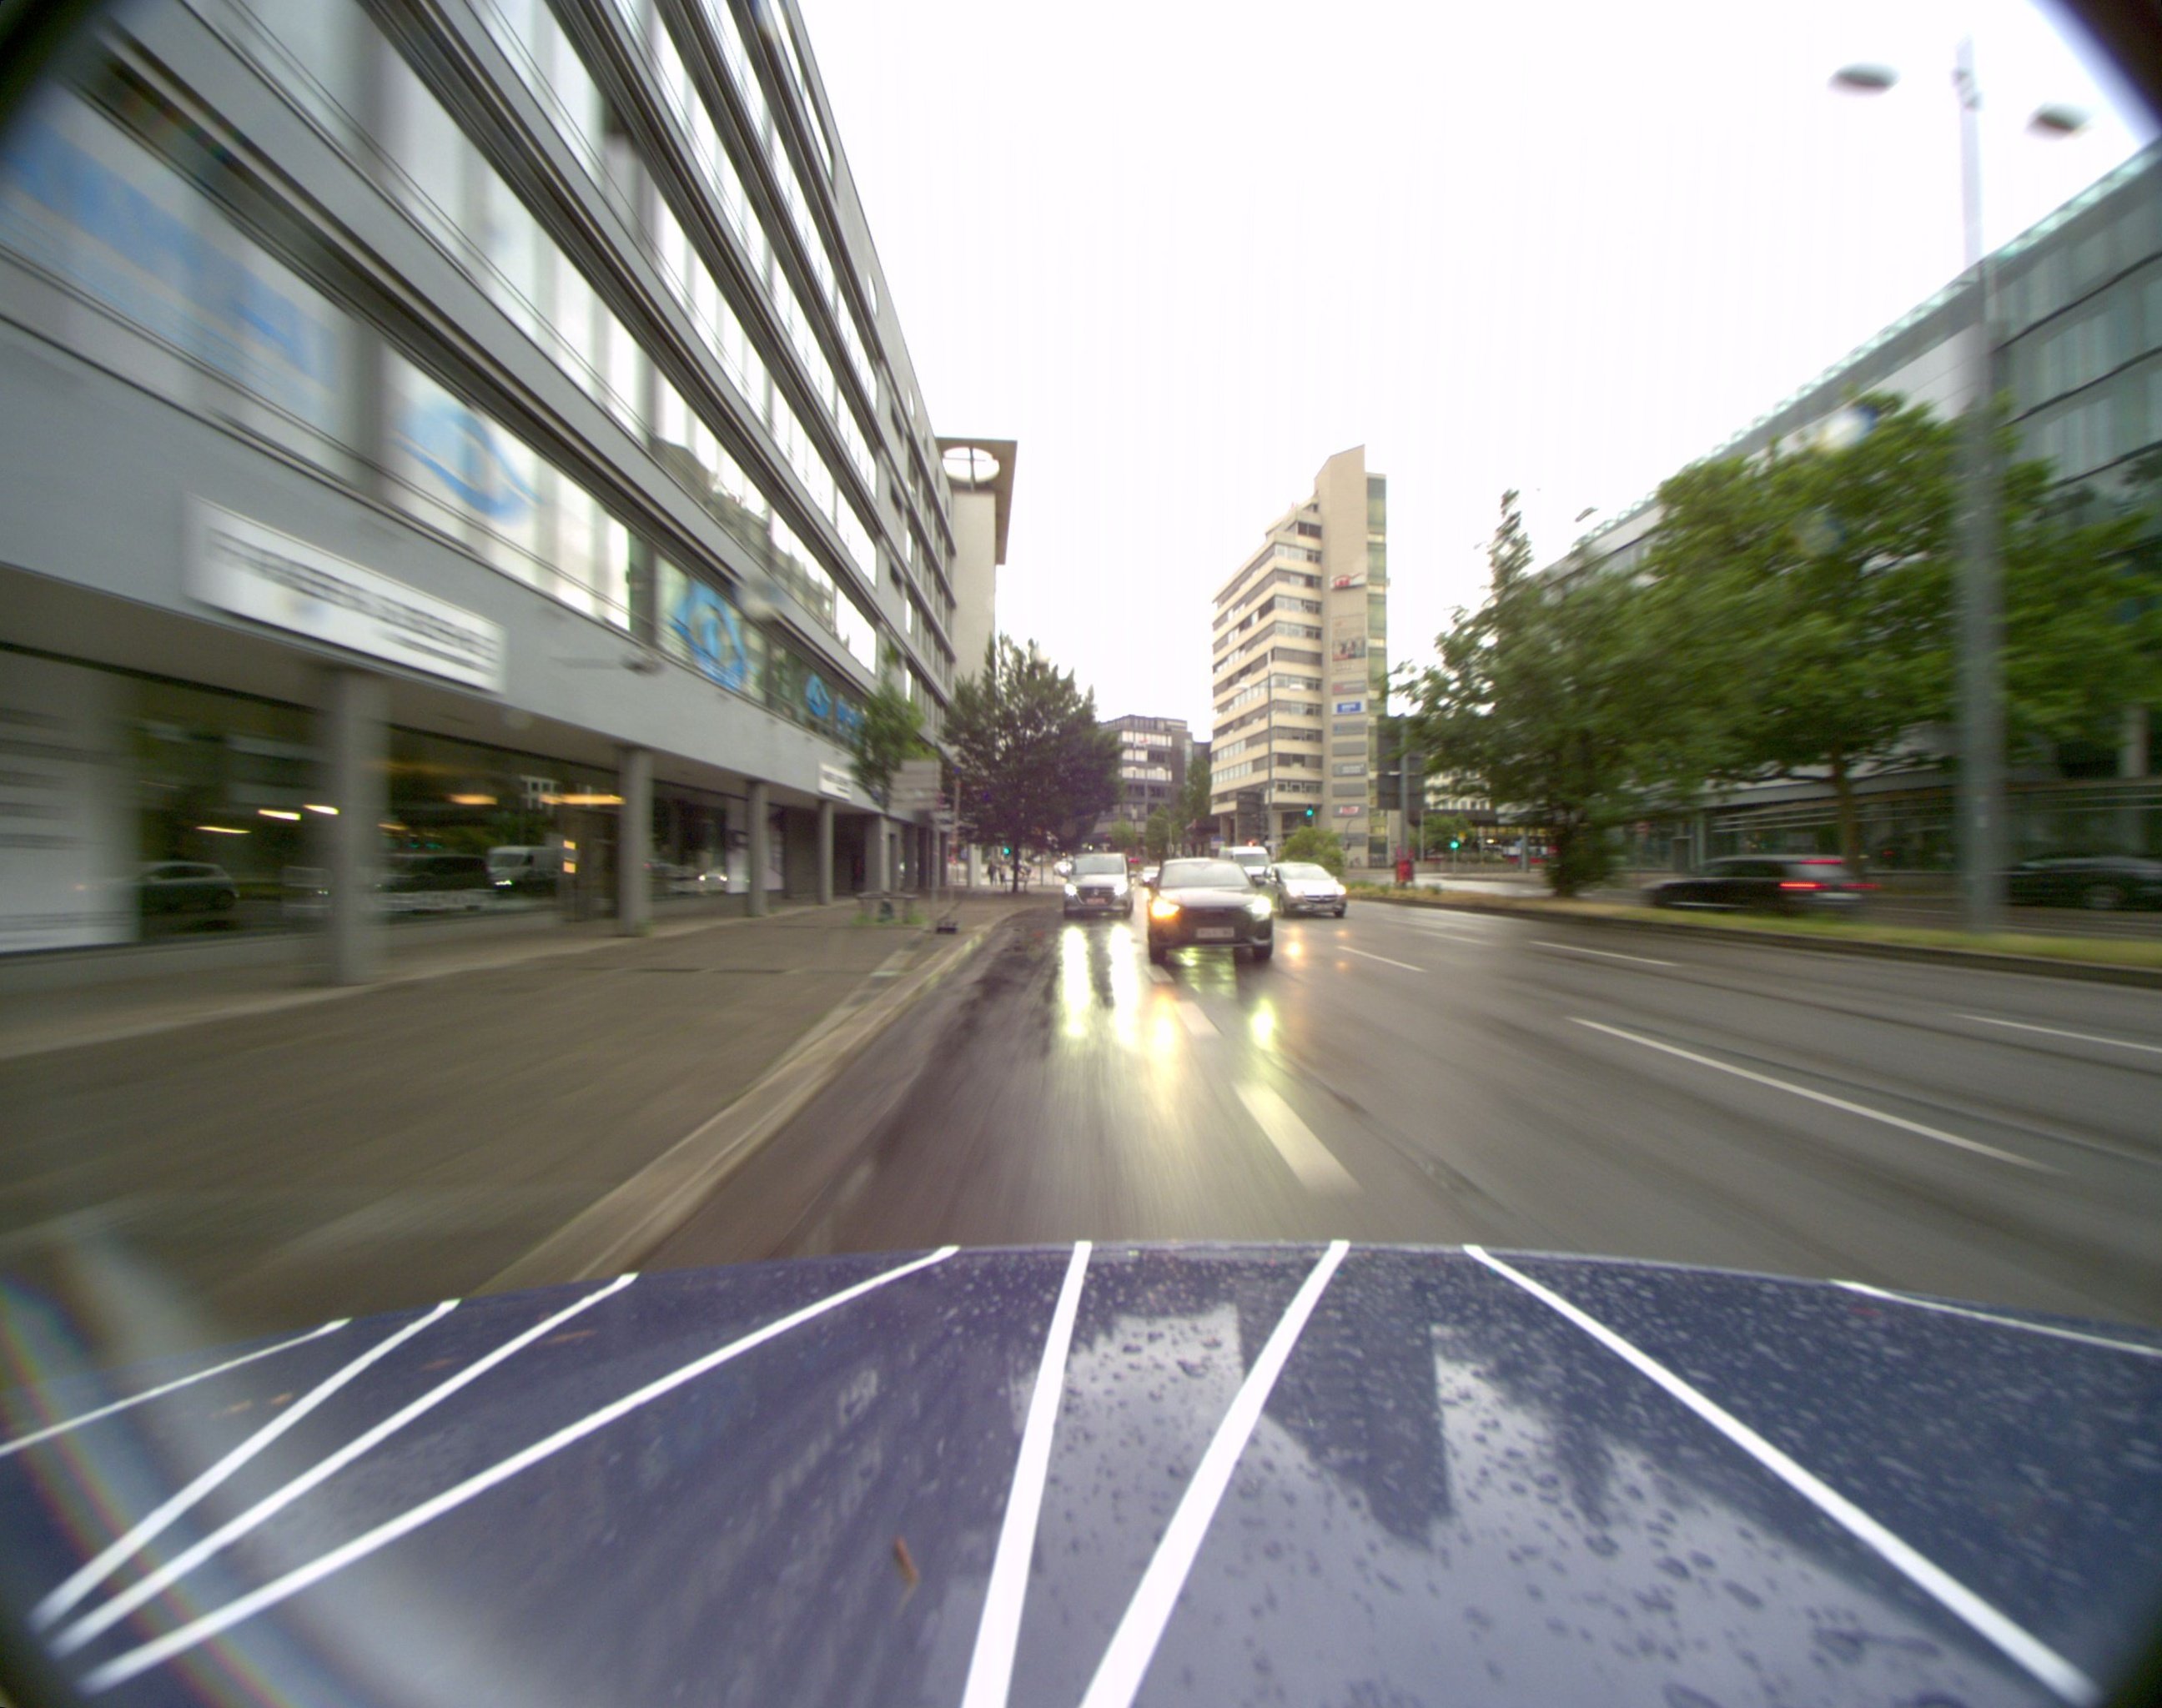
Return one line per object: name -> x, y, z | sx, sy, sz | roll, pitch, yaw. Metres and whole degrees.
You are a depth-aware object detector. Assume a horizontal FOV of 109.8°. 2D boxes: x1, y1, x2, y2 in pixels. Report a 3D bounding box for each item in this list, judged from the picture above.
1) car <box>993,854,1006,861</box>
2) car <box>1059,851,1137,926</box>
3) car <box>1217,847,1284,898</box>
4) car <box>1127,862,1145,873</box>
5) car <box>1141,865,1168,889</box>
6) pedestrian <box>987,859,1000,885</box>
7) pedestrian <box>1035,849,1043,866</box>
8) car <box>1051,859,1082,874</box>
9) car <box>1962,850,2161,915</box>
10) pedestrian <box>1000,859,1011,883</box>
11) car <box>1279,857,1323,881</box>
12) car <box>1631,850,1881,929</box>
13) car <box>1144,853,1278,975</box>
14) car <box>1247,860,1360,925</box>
car -> -17.394, 0.758, 162.248 | 1.744, 1.456, 3.992 | -2, 2, -19
car -> 0.443, 0.928, 23.286 | 2.059, 1.881, 5.047 | -2, 2, -1
car -> 8.905, 0.885, 40.494 | 2.259, 2.372, 5.717 | -2, 2, 0
car -> 8.846, 2.176, 122.450 | 2.000, 1.576, 5.165 | -2, 2, -6
car -> 5.377, 1.675, 56.187 | 1.784, 1.499, 4.000 | -2, 2, 3
pedestrian -> -6.249, 1.282, 54.397 | 0.794, 1.772, 0.894 | -2, 0, -3
pedestrian -> -4.149, 0.329, 74.906 | 0.654, 1.589, 1.058 | -2, 2, -6
car -> -1.686, 1.411, 87.195 | 1.895, 1.478, 3.990 | -3, 2, -28
car -> 28.171, 0.710, 21.386 | 1.802, 1.520, 4.285 | -2, 2, 0
pedestrian -> -5.622, 1.269, 56.653 | 0.641, 1.772, 0.880 | -2, 0, 0
car -> 15.717, 1.050, 54.484 | 1.756, 1.456, 3.969 | -2, 2, -4
car -> 16.882, 0.777, 19.437 | 1.831, 1.623, 4.871 | -2, 2, -5
car -> 2.121, 0.842, 12.732 | 1.801, 1.543, 4.390 | -2, 2, 9
car -> 6.091, 0.986, 21.315 | 1.774, 1.470, 4.125 | -2, 2, -3
